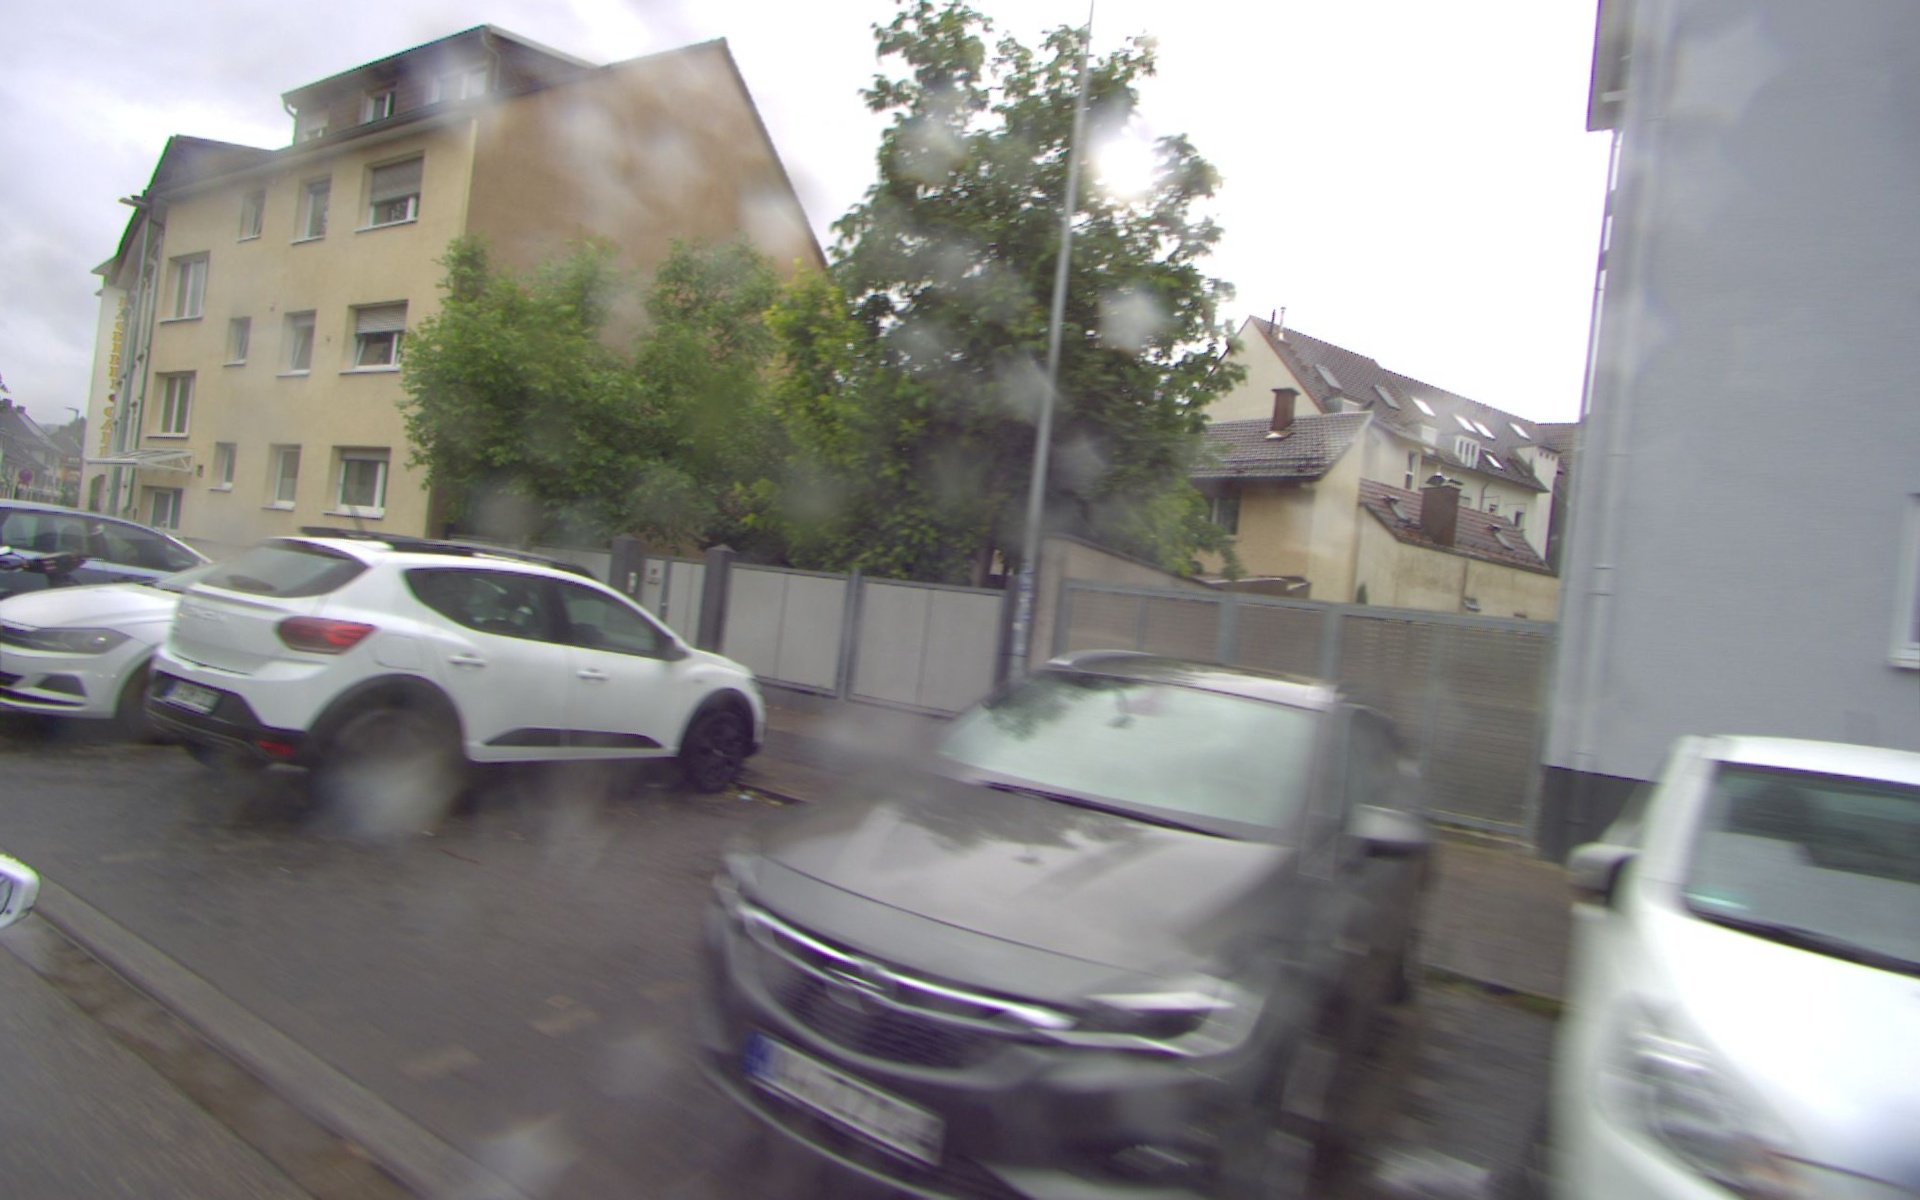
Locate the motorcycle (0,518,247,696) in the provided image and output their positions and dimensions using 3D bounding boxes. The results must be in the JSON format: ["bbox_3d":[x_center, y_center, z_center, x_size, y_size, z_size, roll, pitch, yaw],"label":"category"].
[{"bbox_3d":[-7.504,0.054,8.291,0.903,1.339,2.406,6,-2,27],"label":"motorcycle"}]

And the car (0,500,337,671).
[{"bbox_3d":[-9.312,-0.178,10.746,1.903,1.478,3.995,6,-2,32],"label":"car"}]

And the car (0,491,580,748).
[{"bbox_3d":[-5.395,0.229,8.166,1.830,1.507,3.998,6,-2,28],"label":"car"}]

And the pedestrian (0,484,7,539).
[{"bbox_3d":[-24.518,-1.936,24.976,1.007,2.037,0.941,8,-1,-41],"label":"pedestrian"}]

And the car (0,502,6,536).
[{"bbox_3d":[-50.427,-4.313,51.207,1.983,1.736,3.962,8,-2,-36],"label":"car"}]

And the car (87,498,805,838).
[{"bbox_3d":[-3.148,0.469,7.053,1.873,1.570,3.997,6,-2,30],"label":"car"}]

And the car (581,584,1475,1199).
[{"bbox_3d":[0.824,0.973,3.967,1.752,1.482,3.995,7,-2,31],"label":"car"}]

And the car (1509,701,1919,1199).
[{"bbox_3d":[2.804,1.198,2.943,1.774,1.490,3.992,6,-2,34],"label":"car"}]

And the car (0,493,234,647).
[{"bbox_3d":[-11.339,-0.457,11.944,1.720,1.570,3.988,6,-2,37],"label":"car"}]
